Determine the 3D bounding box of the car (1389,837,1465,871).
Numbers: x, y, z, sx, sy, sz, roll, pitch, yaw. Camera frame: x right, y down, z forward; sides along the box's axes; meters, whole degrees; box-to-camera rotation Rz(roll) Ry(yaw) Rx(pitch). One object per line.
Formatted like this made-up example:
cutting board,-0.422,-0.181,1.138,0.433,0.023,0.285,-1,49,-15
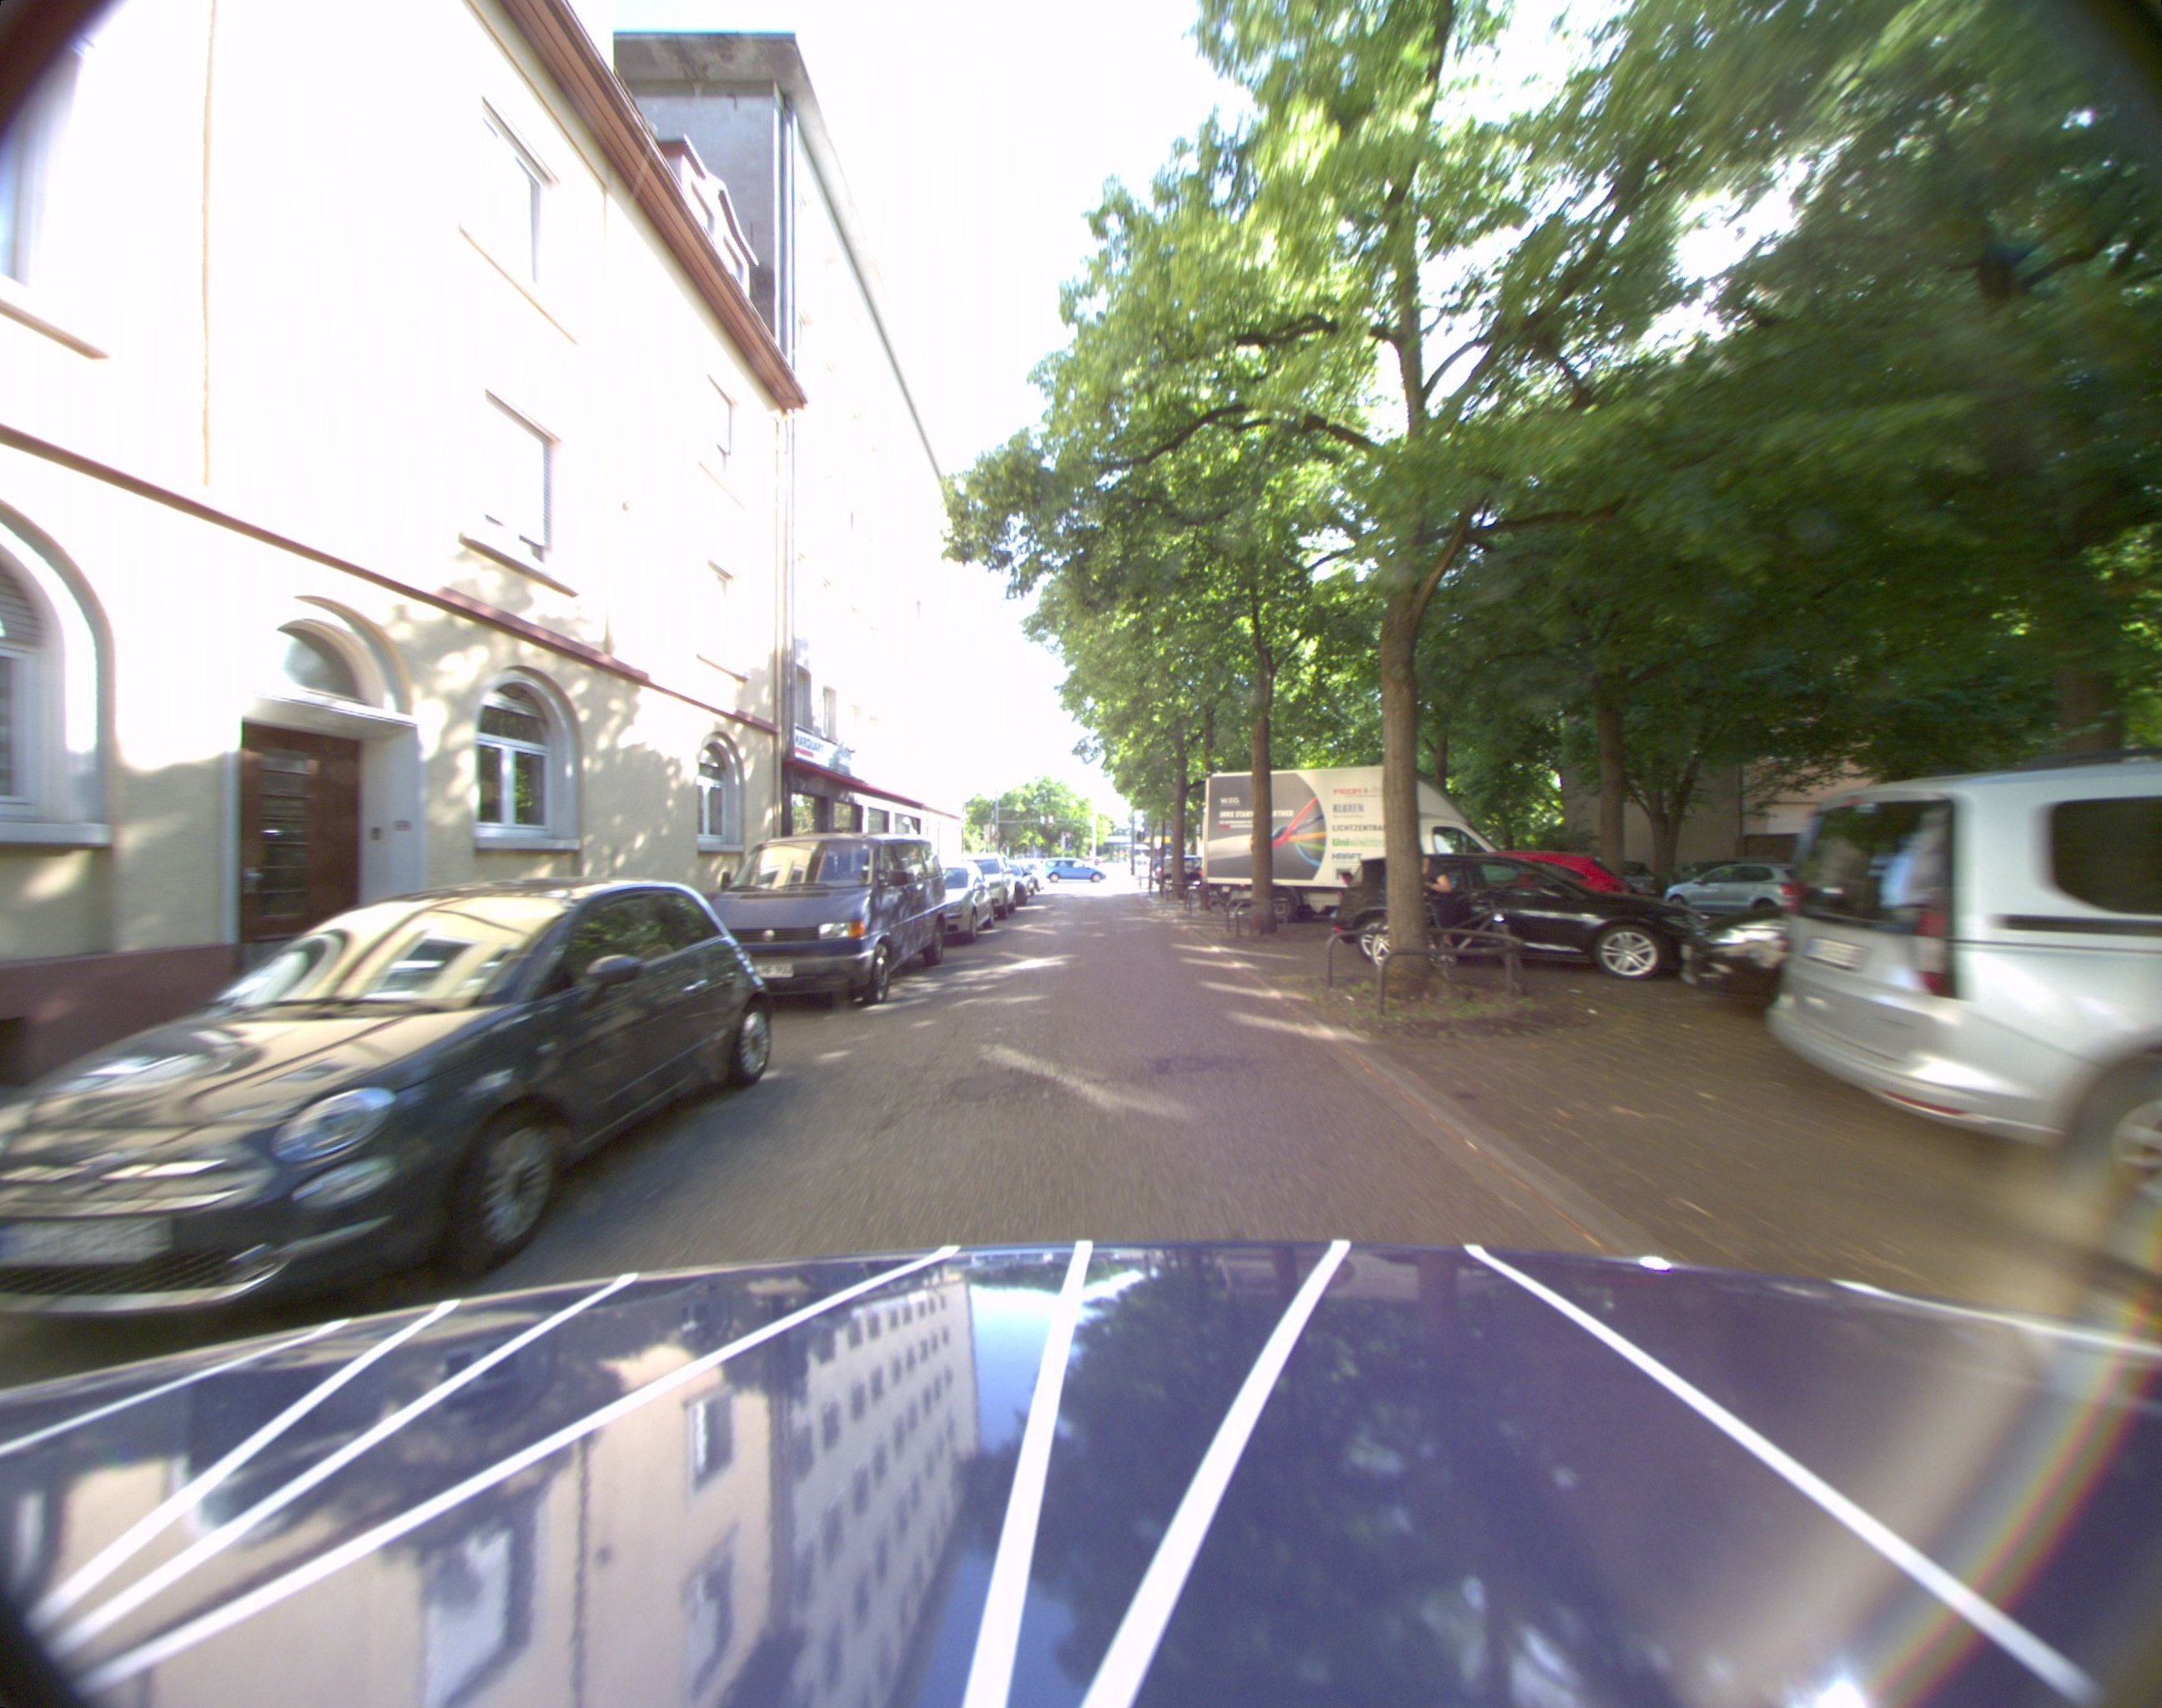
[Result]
car,15.998,0.010,35.354,1.758,1.502,3.949,0,0,1

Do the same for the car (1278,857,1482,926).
car,7.235,0.833,18.567,4.331,1.498,1.817,0,0,35

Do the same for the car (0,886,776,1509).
car,-3.032,0.982,3.788,1.626,1.489,3.594,0,0,-1

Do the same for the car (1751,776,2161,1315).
car,5.725,0.635,2.788,4.512,1.854,2.085,-1,0,26

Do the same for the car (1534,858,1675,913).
car,16.091,0.908,23.620,1.758,1.560,3.949,0,0,1

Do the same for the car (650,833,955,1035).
car,-3.016,0.751,9.551,1.953,1.889,4.845,0,0,1

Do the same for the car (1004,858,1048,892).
car,-2.581,0.965,36.495,1.723,1.488,4.023,0,0,2

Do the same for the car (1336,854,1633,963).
car,6.426,0.772,12.329,3.989,1.494,1.852,-1,0,32

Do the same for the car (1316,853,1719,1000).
car,5.298,0.763,9.646,4.097,1.497,1.737,-1,0,32

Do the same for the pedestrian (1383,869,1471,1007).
pedestrian,3.805,0.866,8.341,0.751,1.388,0.930,0,1,32

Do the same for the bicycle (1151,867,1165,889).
bicycle,4.004,1.243,39.589,0.354,1.066,1.591,0,0,-10

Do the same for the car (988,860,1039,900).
car,-2.654,0.988,30.490,1.600,1.455,3.673,0,0,2

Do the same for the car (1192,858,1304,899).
car,6.320,0.885,28.835,3.813,1.472,1.765,0,0,29

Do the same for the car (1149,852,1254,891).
car,5.491,0.816,34.695,4.325,1.661,1.841,-2,-1,31

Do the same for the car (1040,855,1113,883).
car,-0.320,0.947,48.382,4.483,1.765,1.873,0,0,-4

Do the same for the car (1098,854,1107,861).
car,4.788,0.863,169.440,1.998,1.543,4.485,0,0,0

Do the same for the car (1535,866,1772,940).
car,12.326,0.980,16.803,1.769,1.287,4.412,2,0,-2

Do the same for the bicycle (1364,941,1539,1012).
bicycle,3.852,1.252,7.950,1.610,0.555,0.410,0,0,32

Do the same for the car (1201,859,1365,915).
car,5.923,0.912,22.461,4.331,1.498,1.817,0,0,35

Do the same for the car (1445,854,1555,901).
car,15.524,0.813,28.435,1.758,1.630,4.246,0,0,-1

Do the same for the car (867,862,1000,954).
car,-2.709,0.928,14.909,1.766,1.491,4.238,0,0,0

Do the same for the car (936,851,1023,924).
car,-2.594,0.796,20.396,1.766,1.743,4.509,0,0,-1

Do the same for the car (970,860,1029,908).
car,-2.671,0.939,25.764,1.807,1.455,4.439,0,0,-4

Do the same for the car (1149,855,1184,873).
car,7.350,0.835,65.102,1.679,1.499,3.603,-2,-1,29

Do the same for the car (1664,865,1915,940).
car,15.880,1.014,17.420,1.768,1.426,4.344,0,0,1

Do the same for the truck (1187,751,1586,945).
truck,6.120,-0.113,15.885,7.304,3.274,2.552,0,0,32

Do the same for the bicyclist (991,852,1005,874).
bicyclist,-5.746,0.624,52.348,0.829,1.555,0.595,0,1,-21

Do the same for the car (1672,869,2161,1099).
car,6.874,0.835,5.669,3.791,1.398,1.627,-1,0,34

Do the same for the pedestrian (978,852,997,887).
pedestrian,-4.603,0.749,37.535,0.760,1.712,0.745,0,0,7
